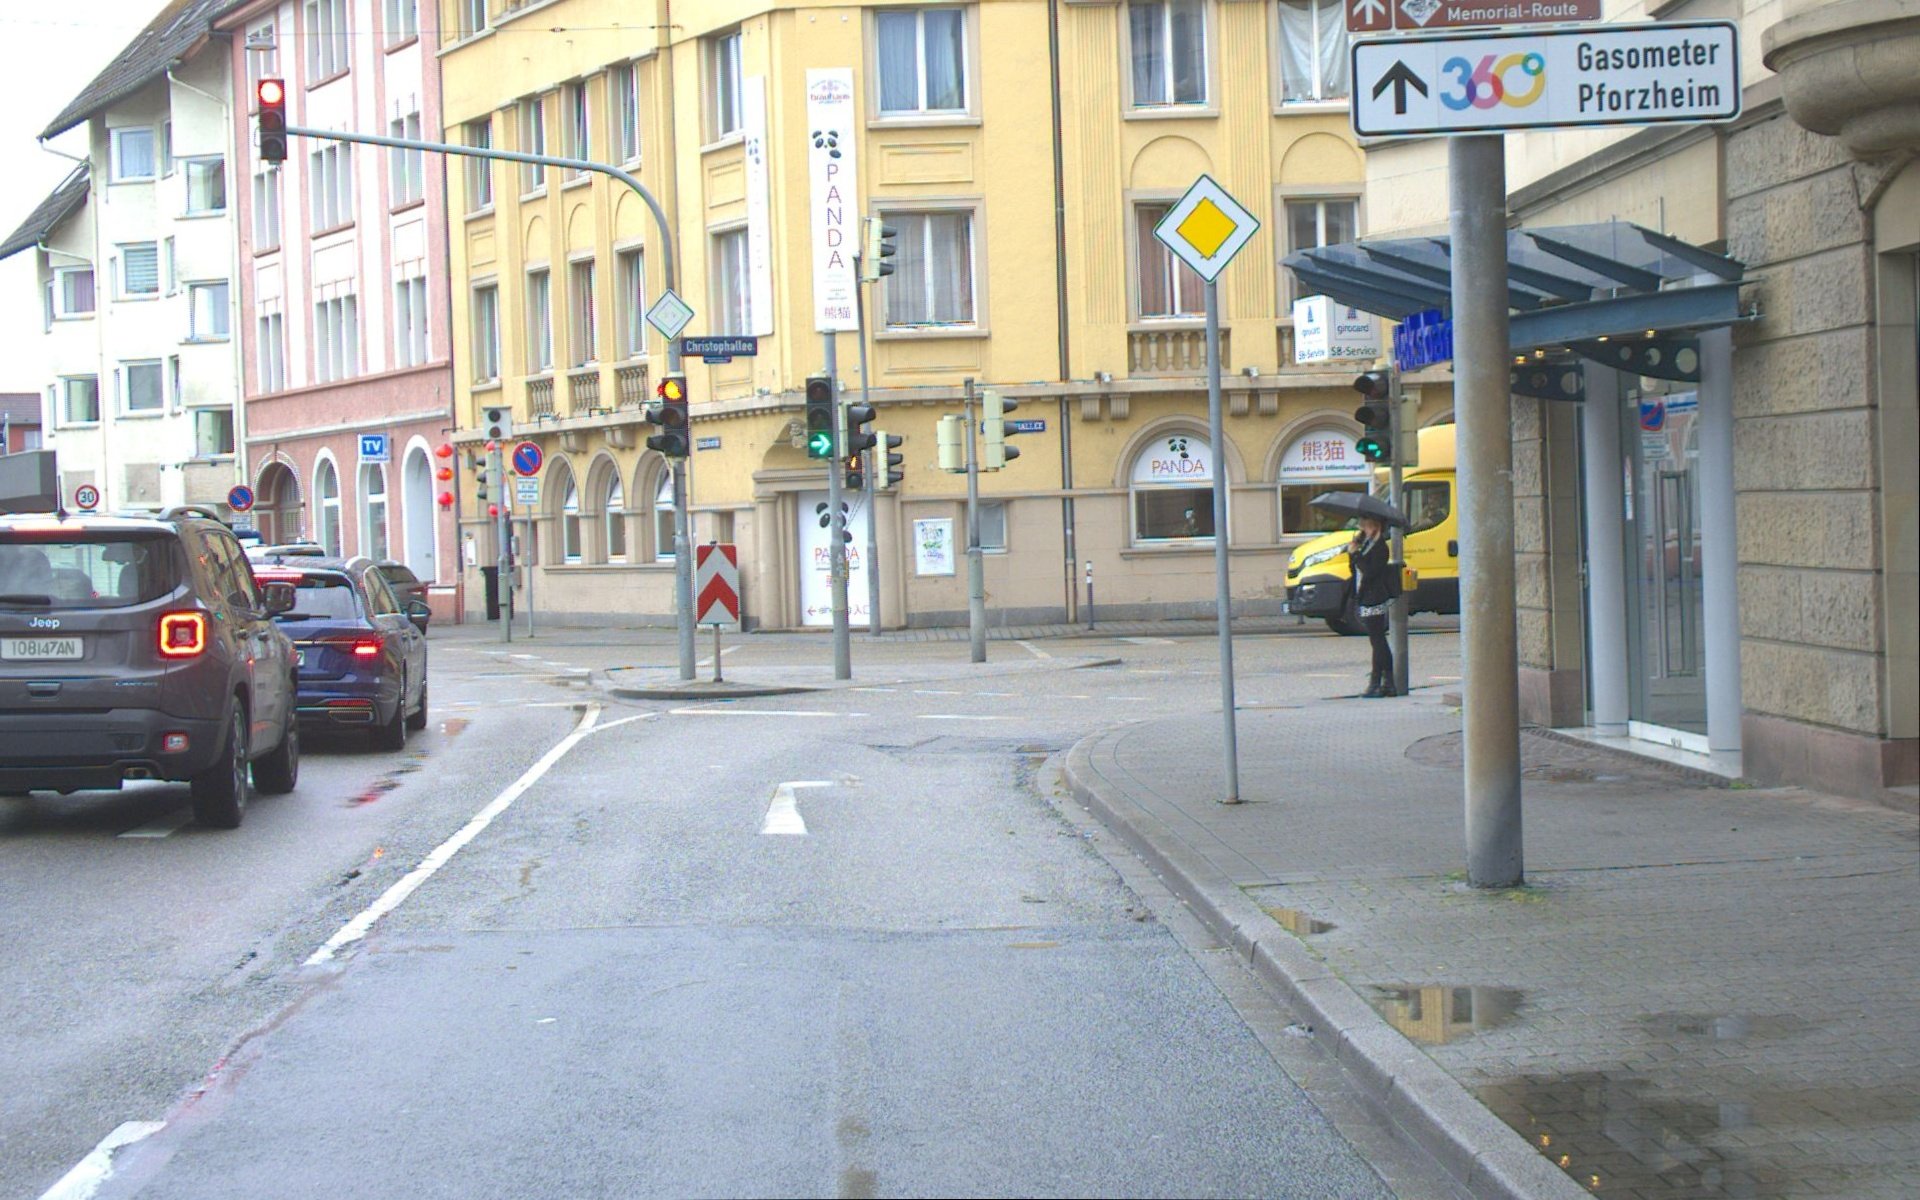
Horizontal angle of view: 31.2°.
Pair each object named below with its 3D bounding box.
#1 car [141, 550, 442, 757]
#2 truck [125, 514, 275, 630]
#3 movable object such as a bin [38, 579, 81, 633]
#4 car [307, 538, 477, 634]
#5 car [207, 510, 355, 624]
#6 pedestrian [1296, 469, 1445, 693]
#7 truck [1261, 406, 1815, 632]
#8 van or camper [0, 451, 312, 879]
[{"bbox_3d":[-4.963,0.348,26.054,1.802,1.401,4.685,-1,1,-6],"label":"car"},{"bbox_3d":[-16.217,-0.623,73.235,2.026,2.381,4.237,-1,1,-28],"label":"truck"},{"bbox_3d":[-21.437,0.134,81.844,0.748,1.227,0.984,3,-1,-27],"label":"movable object such as a bin"},{"bbox_3d":[-10.264,-0.258,61.963,1.878,1.631,4.001,-1,1,-27],"label":"car"},{"bbox_3d":[-13.505,-0.673,68.239,1.761,2.173,4.001,1,1,-28],"label":"car"},{"bbox_3d":[3.573,-0.174,29.868,1.058,1.897,1.024,-1,1,19],"label":"pedestrian"},{"bbox_3d":[7.803,-1.101,46.804,7.090,2.841,2.083,-1,1,-3],"label":"truck"},{"bbox_3d":[-4.758,0.280,19.263,1.854,2.139,4.143,0,1,-6],"label":"van or camper"}]
